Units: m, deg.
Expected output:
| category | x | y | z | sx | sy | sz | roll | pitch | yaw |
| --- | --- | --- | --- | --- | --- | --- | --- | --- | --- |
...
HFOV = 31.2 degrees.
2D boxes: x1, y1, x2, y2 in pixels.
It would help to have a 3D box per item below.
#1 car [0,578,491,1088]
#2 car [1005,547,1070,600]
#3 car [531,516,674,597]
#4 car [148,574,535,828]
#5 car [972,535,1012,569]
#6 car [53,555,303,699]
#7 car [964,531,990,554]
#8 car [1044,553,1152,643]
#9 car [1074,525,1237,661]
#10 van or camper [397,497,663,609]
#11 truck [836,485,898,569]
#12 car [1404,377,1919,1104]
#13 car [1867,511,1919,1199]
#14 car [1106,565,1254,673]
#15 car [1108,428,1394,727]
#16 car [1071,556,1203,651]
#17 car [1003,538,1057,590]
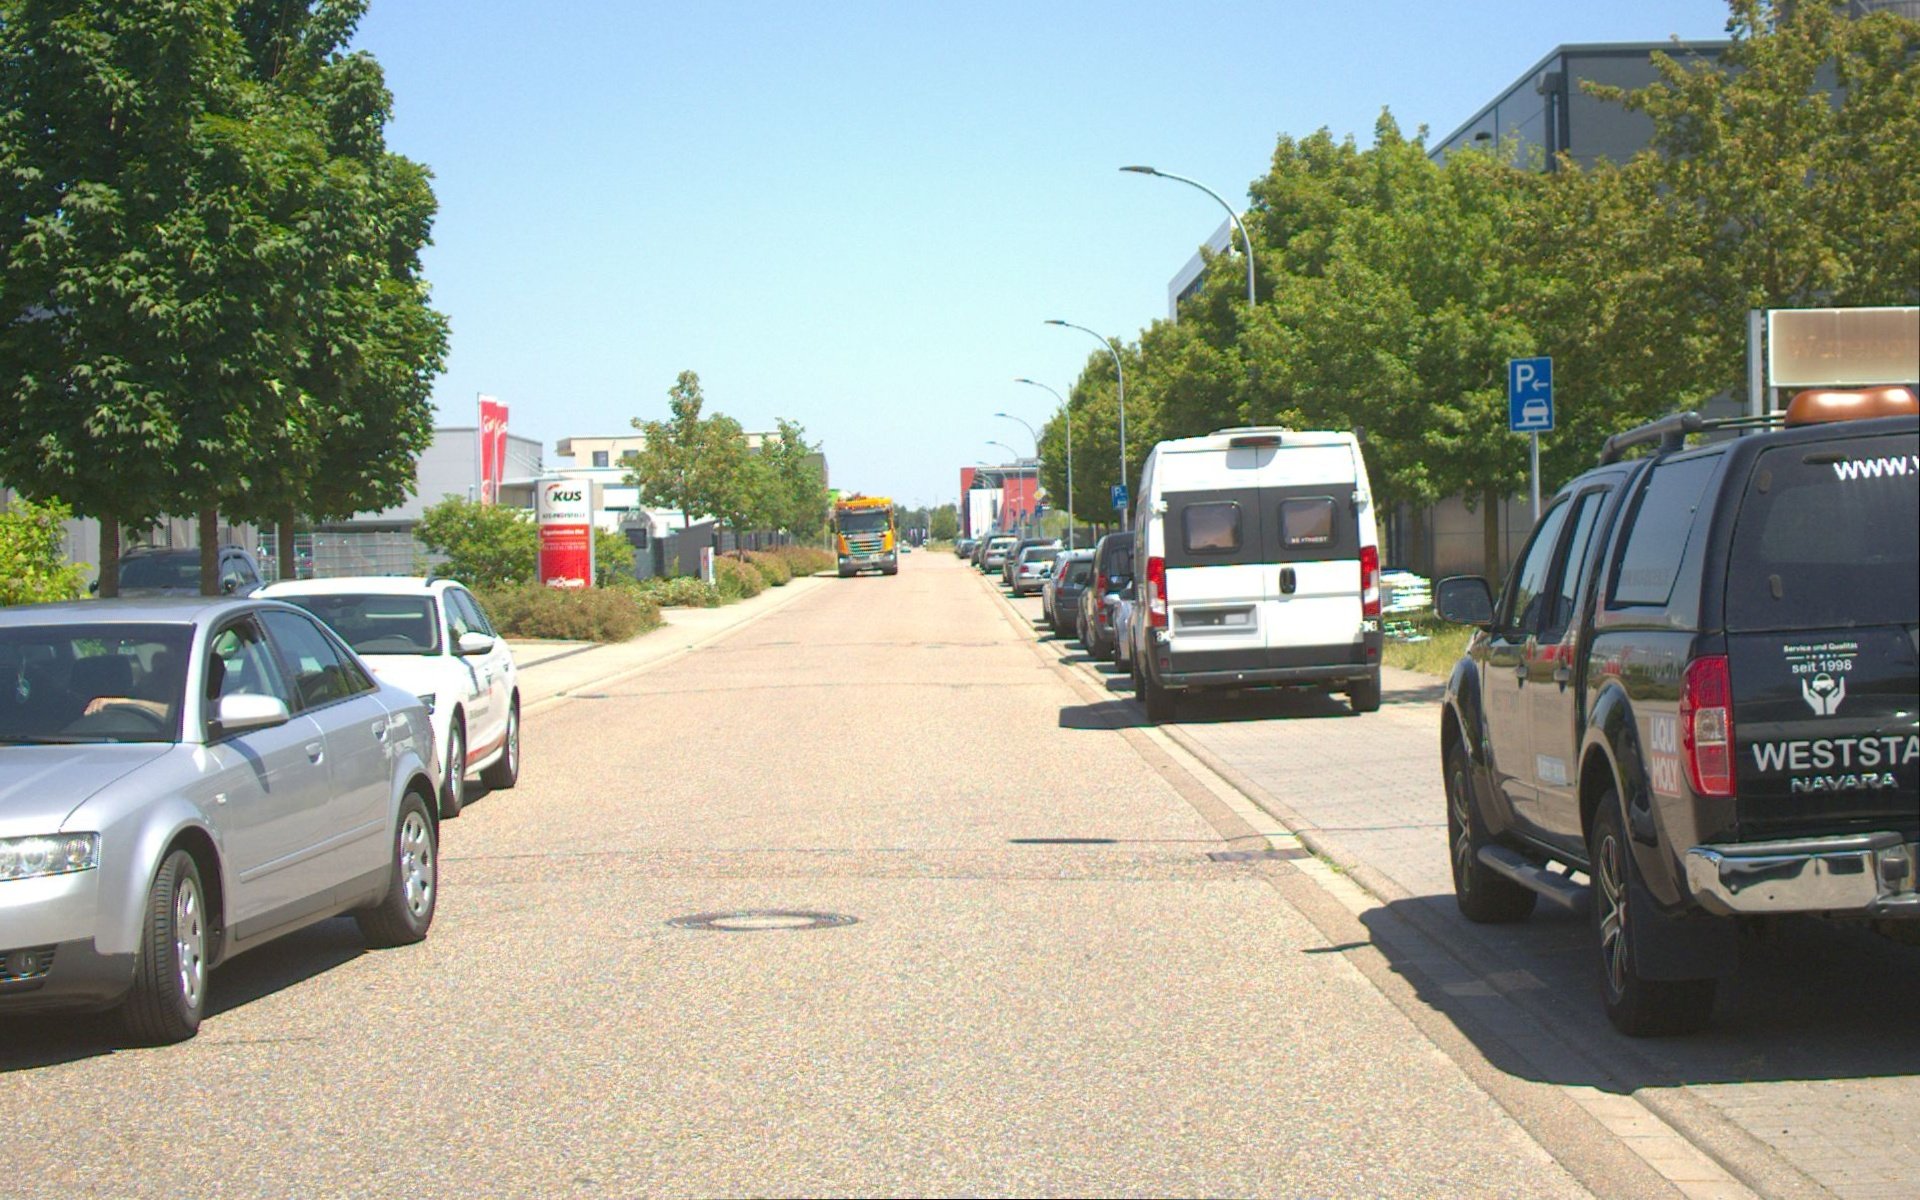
| category | x | y | z | sx | sy | sz | roll | pitch | yaw |
| --- | --- | --- | --- | --- | --- | --- | --- | --- | --- |
| car | -3.170 | 0.707 | 12.282 | 1.783 | 1.417 | 4.412 | -3 | 1 | 8 |
| car | 2.202 | -0.772 | 98.596 | 1.718 | 1.445 | 3.646 | -2 | 1 | 0 |
| car | -12.129 | -1.487 | 116.972 | 4.714 | 2.577 | 2.000 | -2 | 1 | -4 |
| car | -3.893 | 0.573 | 22.358 | 1.730 | 1.453 | 4.492 | -1 | 1 | 0 |
| car | 1.346 | -2.043 | 145.822 | 1.585 | 1.405 | 3.500 | -1 | 1 | 0 |
| car | -10.433 | 0.312 | 46.234 | 1.994 | 1.729 | 4.913 | 0 | 2 | 3 |
| car | 1.014 | -3.516 | 210.414 | 1.495 | 1.405 | 3.500 | -1 | 1 | 0 |
| car | 2.519 | -0.056 | 61.750 | 1.709 | 1.499 | 4.705 | -2 | 0 | 5 |
| car | 2.765 | -0.110 | 49.467 | 1.993 | 1.819 | 4.354 | -2 | 0 | -1 |
| van or camper | -12.537 | -1.384 | 100.642 | 7.384 | 3.027 | 2.790 | -1 | 1 | -1 |
| truck | -4.090 | -3.245 | 151.922 | 2.448 | 3.501 | 8.273 | -2 | 1 | 0 |
| car | 2.863 | 0.308 | 11.589 | 1.993 | 1.878 | 5.156 | -2 | 1 | 0 |
| car | 2.904 | 0.553 | 5.357 | 1.738 | 1.525 | 4.000 | -3 | 1 | -2 |
| car | 2.798 | 0.228 | 44.422 | 1.711 | 1.283 | 4.115 | -2 | 0 | 1 |
| car | 2.621 | -0.236 | 32.478 | 2.267 | 2.489 | 6.152 | -2 | 1 | 2 |
| car | 2.832 | 0.030 | 55.967 | 1.850 | 1.426 | 4.713 | -2 | 0 | 0 |
| car | 2.353 | -1.251 | 116.647 | 1.722 | 1.688 | 3.984 | -1 | 1 | 0 |
